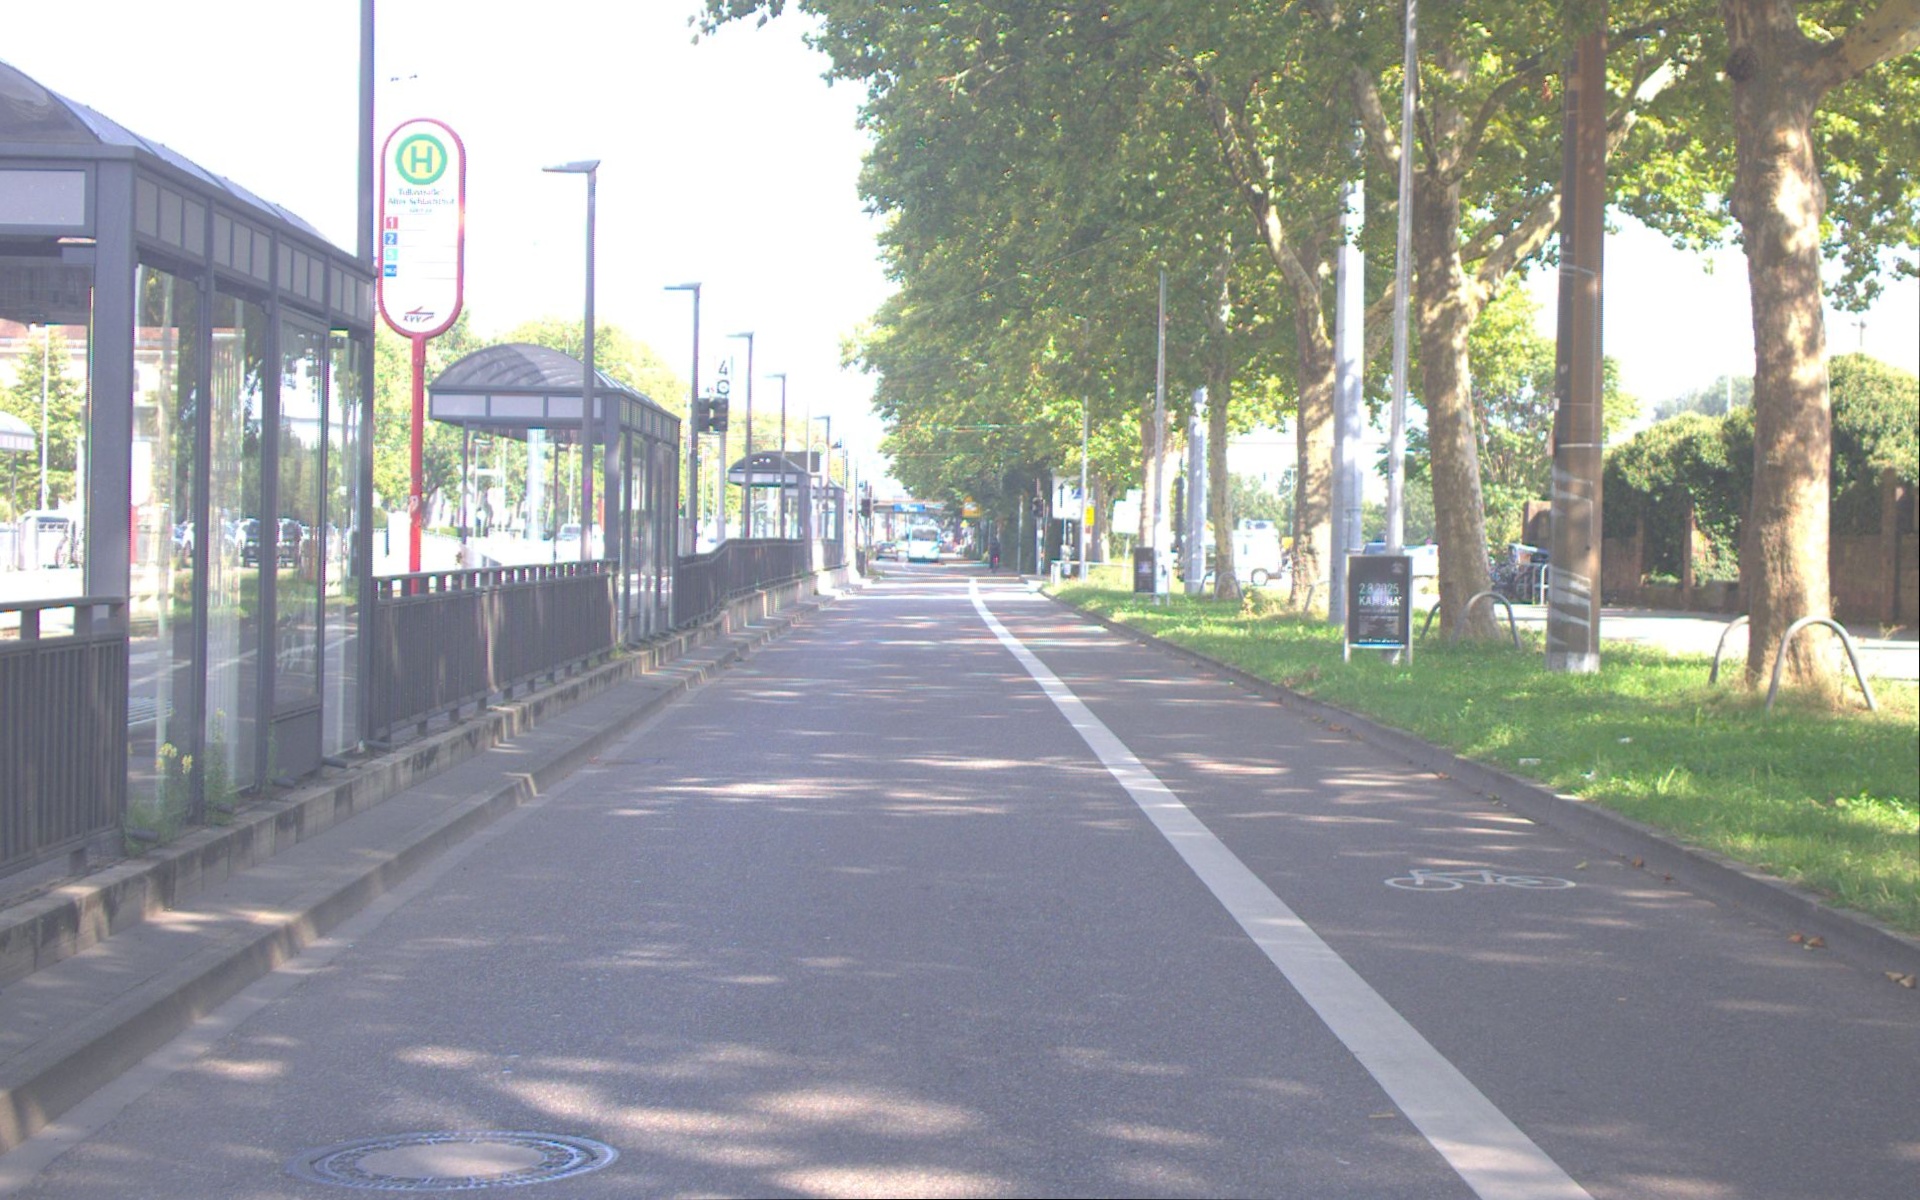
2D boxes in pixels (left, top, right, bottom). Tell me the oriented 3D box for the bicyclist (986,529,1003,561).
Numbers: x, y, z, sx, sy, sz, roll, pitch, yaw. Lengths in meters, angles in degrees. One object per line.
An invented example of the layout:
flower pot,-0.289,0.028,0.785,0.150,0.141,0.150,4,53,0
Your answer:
bicyclist,1.583,-2.546,158.735,0.705,1.456,1.009,2,1,0

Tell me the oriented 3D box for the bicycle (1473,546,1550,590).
bicycle,12.360,-0.723,77.047,1.656,0.966,0.506,-1,1,5

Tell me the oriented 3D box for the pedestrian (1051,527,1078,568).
pedestrian,4.078,-2.044,134.138,0.626,1.612,0.843,1,1,37

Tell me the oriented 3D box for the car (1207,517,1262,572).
car,10.450,-2.135,131.185,1.722,2.041,4.462,1,1,0

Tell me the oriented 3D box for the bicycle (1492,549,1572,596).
bicycle,12.337,-0.596,74.147,1.656,0.966,0.506,-1,1,5

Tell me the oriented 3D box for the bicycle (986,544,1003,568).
bicycle,1.568,-2.025,158.628,0.715,1.104,2.509,2,1,0

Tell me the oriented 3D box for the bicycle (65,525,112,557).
bicycle,-18.309,-1.244,72.233,0.477,0.660,1.613,1,1,4

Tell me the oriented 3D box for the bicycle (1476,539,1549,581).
bicycle,13.114,-0.948,81.589,1.656,0.966,0.506,-1,1,2

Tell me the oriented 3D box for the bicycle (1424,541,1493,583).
bicycle,11.689,-0.896,80.698,0.505,0.966,1.661,-2,1,-42
